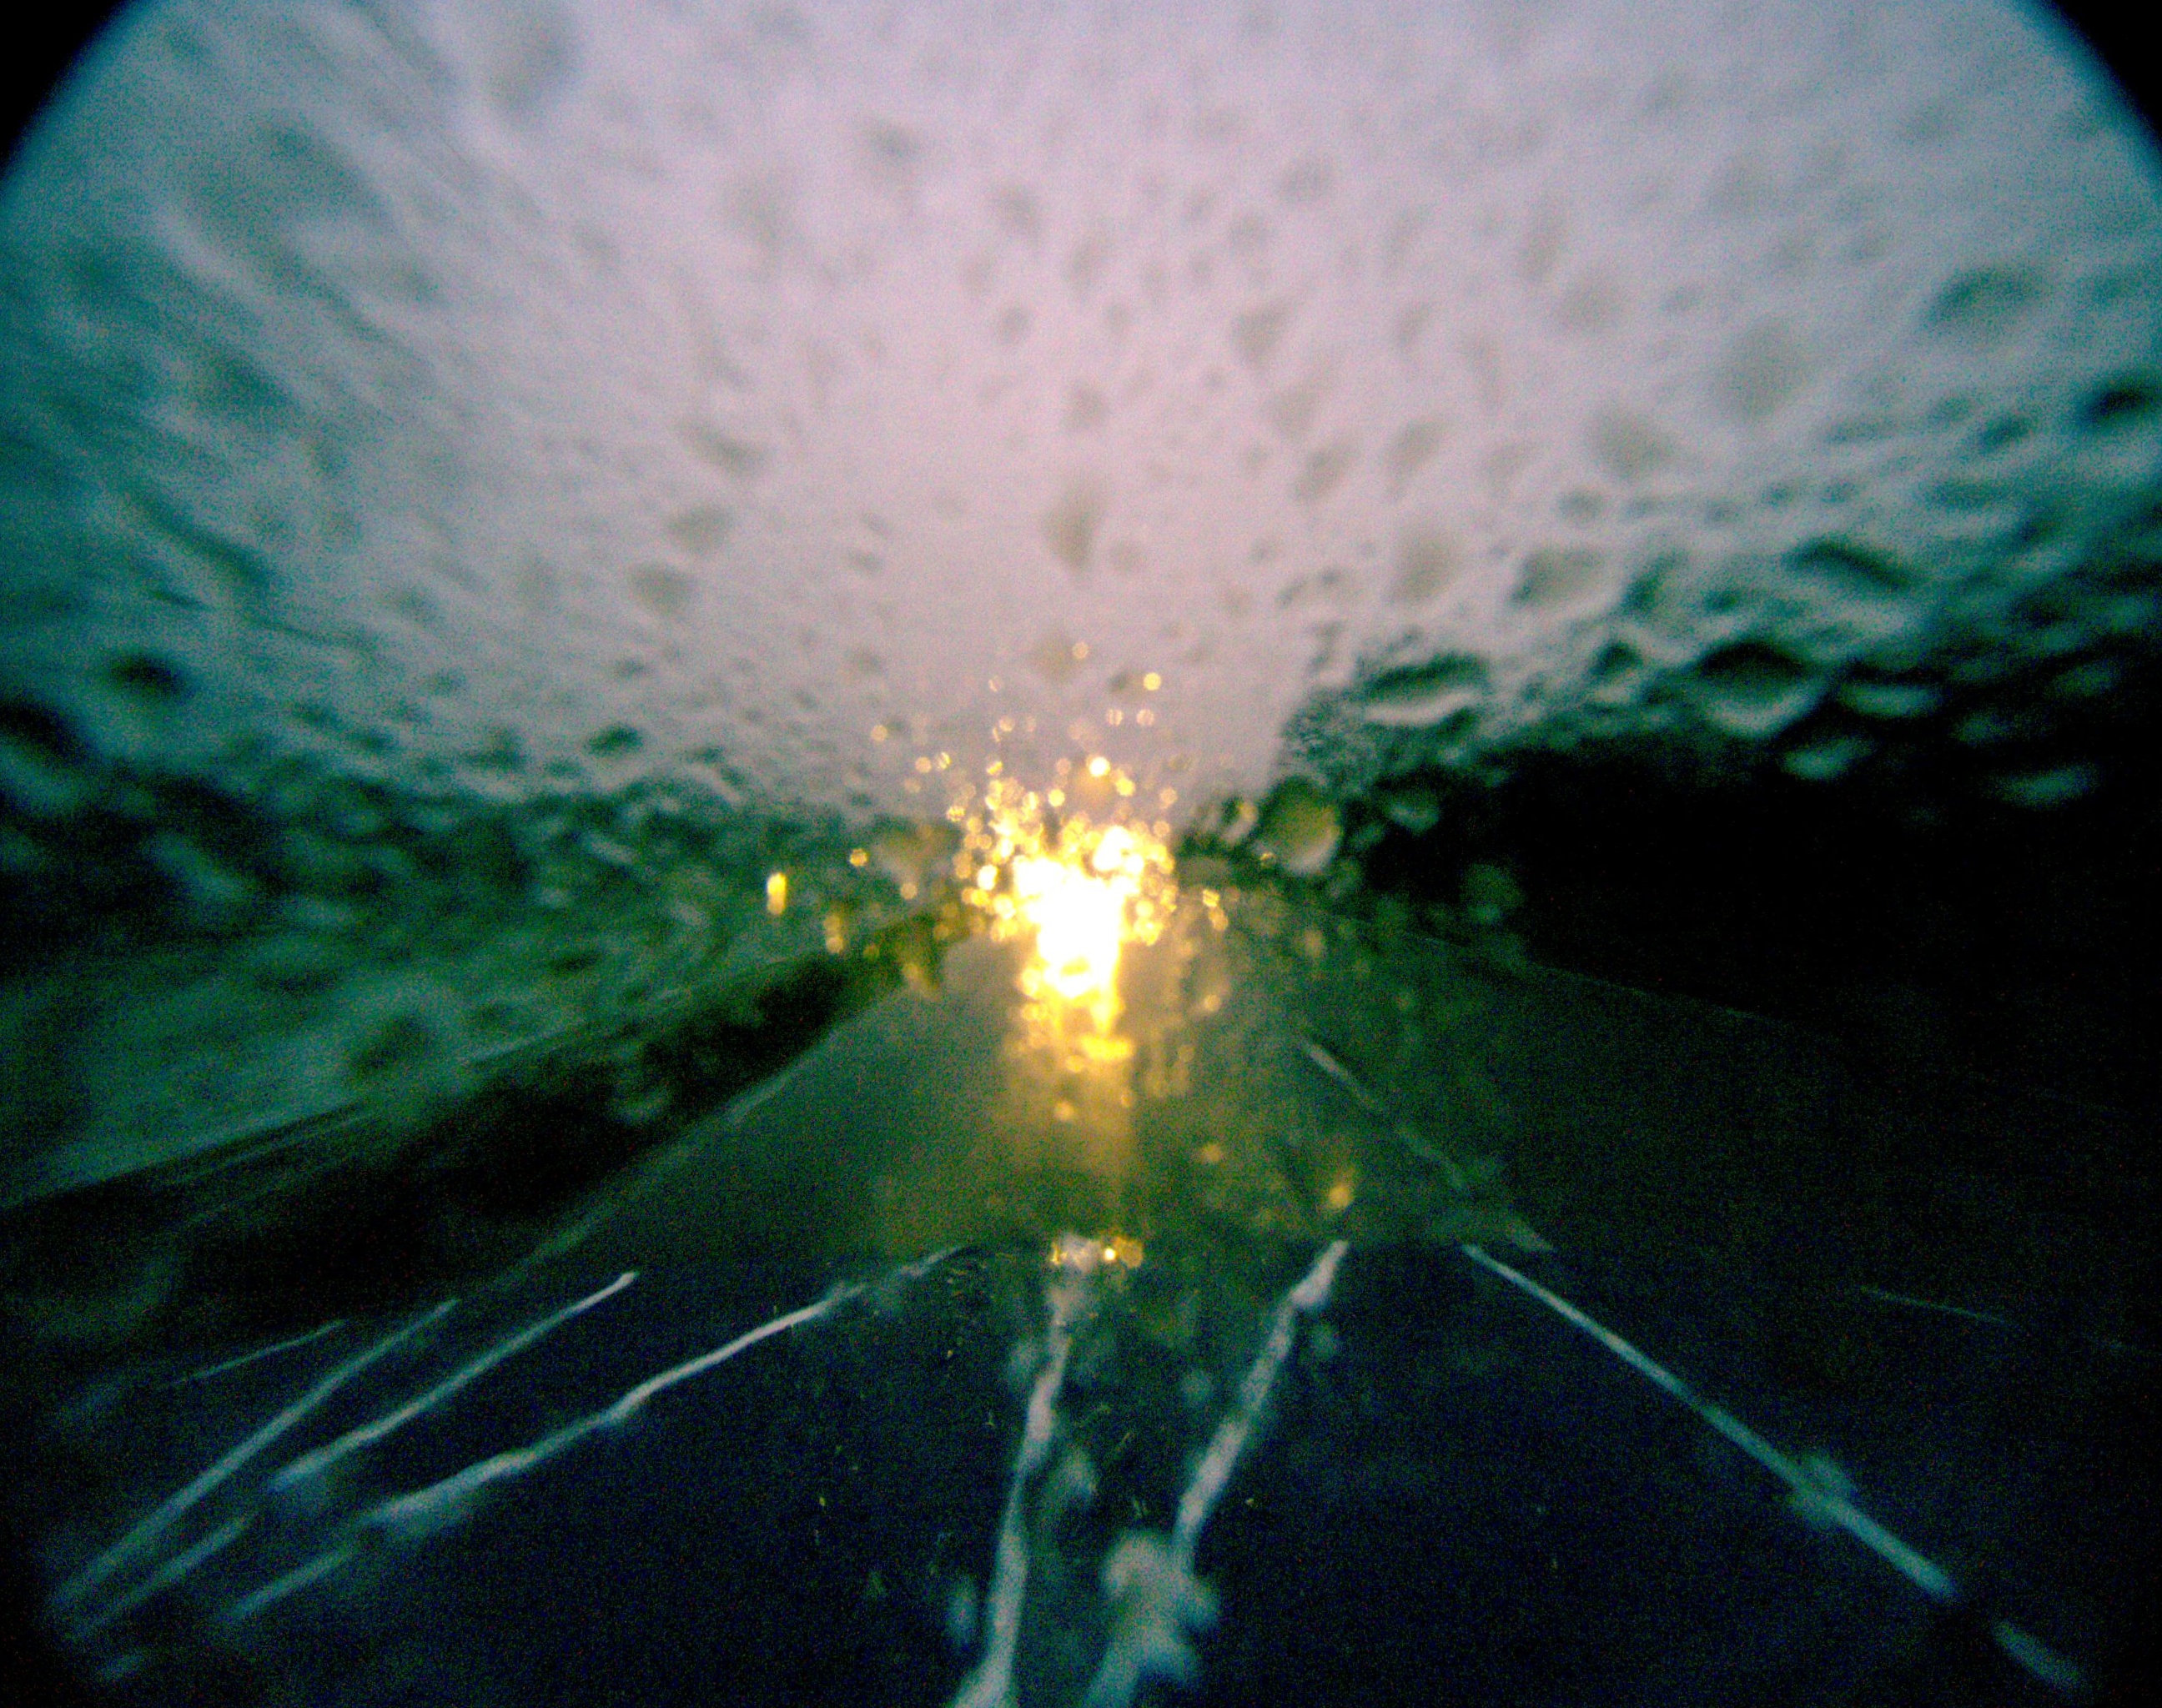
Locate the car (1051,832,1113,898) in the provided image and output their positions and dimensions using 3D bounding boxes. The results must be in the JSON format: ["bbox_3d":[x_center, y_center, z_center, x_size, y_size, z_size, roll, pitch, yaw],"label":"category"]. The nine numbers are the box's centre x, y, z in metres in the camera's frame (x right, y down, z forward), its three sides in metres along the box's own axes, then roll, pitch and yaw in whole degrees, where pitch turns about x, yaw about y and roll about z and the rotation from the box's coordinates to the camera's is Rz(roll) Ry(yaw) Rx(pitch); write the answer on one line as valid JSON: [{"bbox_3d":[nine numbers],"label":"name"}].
[{"bbox_3d":[0.137,0.354,28.151,1.952,2.195,4.535,-2,1,3],"label":"car"}]
